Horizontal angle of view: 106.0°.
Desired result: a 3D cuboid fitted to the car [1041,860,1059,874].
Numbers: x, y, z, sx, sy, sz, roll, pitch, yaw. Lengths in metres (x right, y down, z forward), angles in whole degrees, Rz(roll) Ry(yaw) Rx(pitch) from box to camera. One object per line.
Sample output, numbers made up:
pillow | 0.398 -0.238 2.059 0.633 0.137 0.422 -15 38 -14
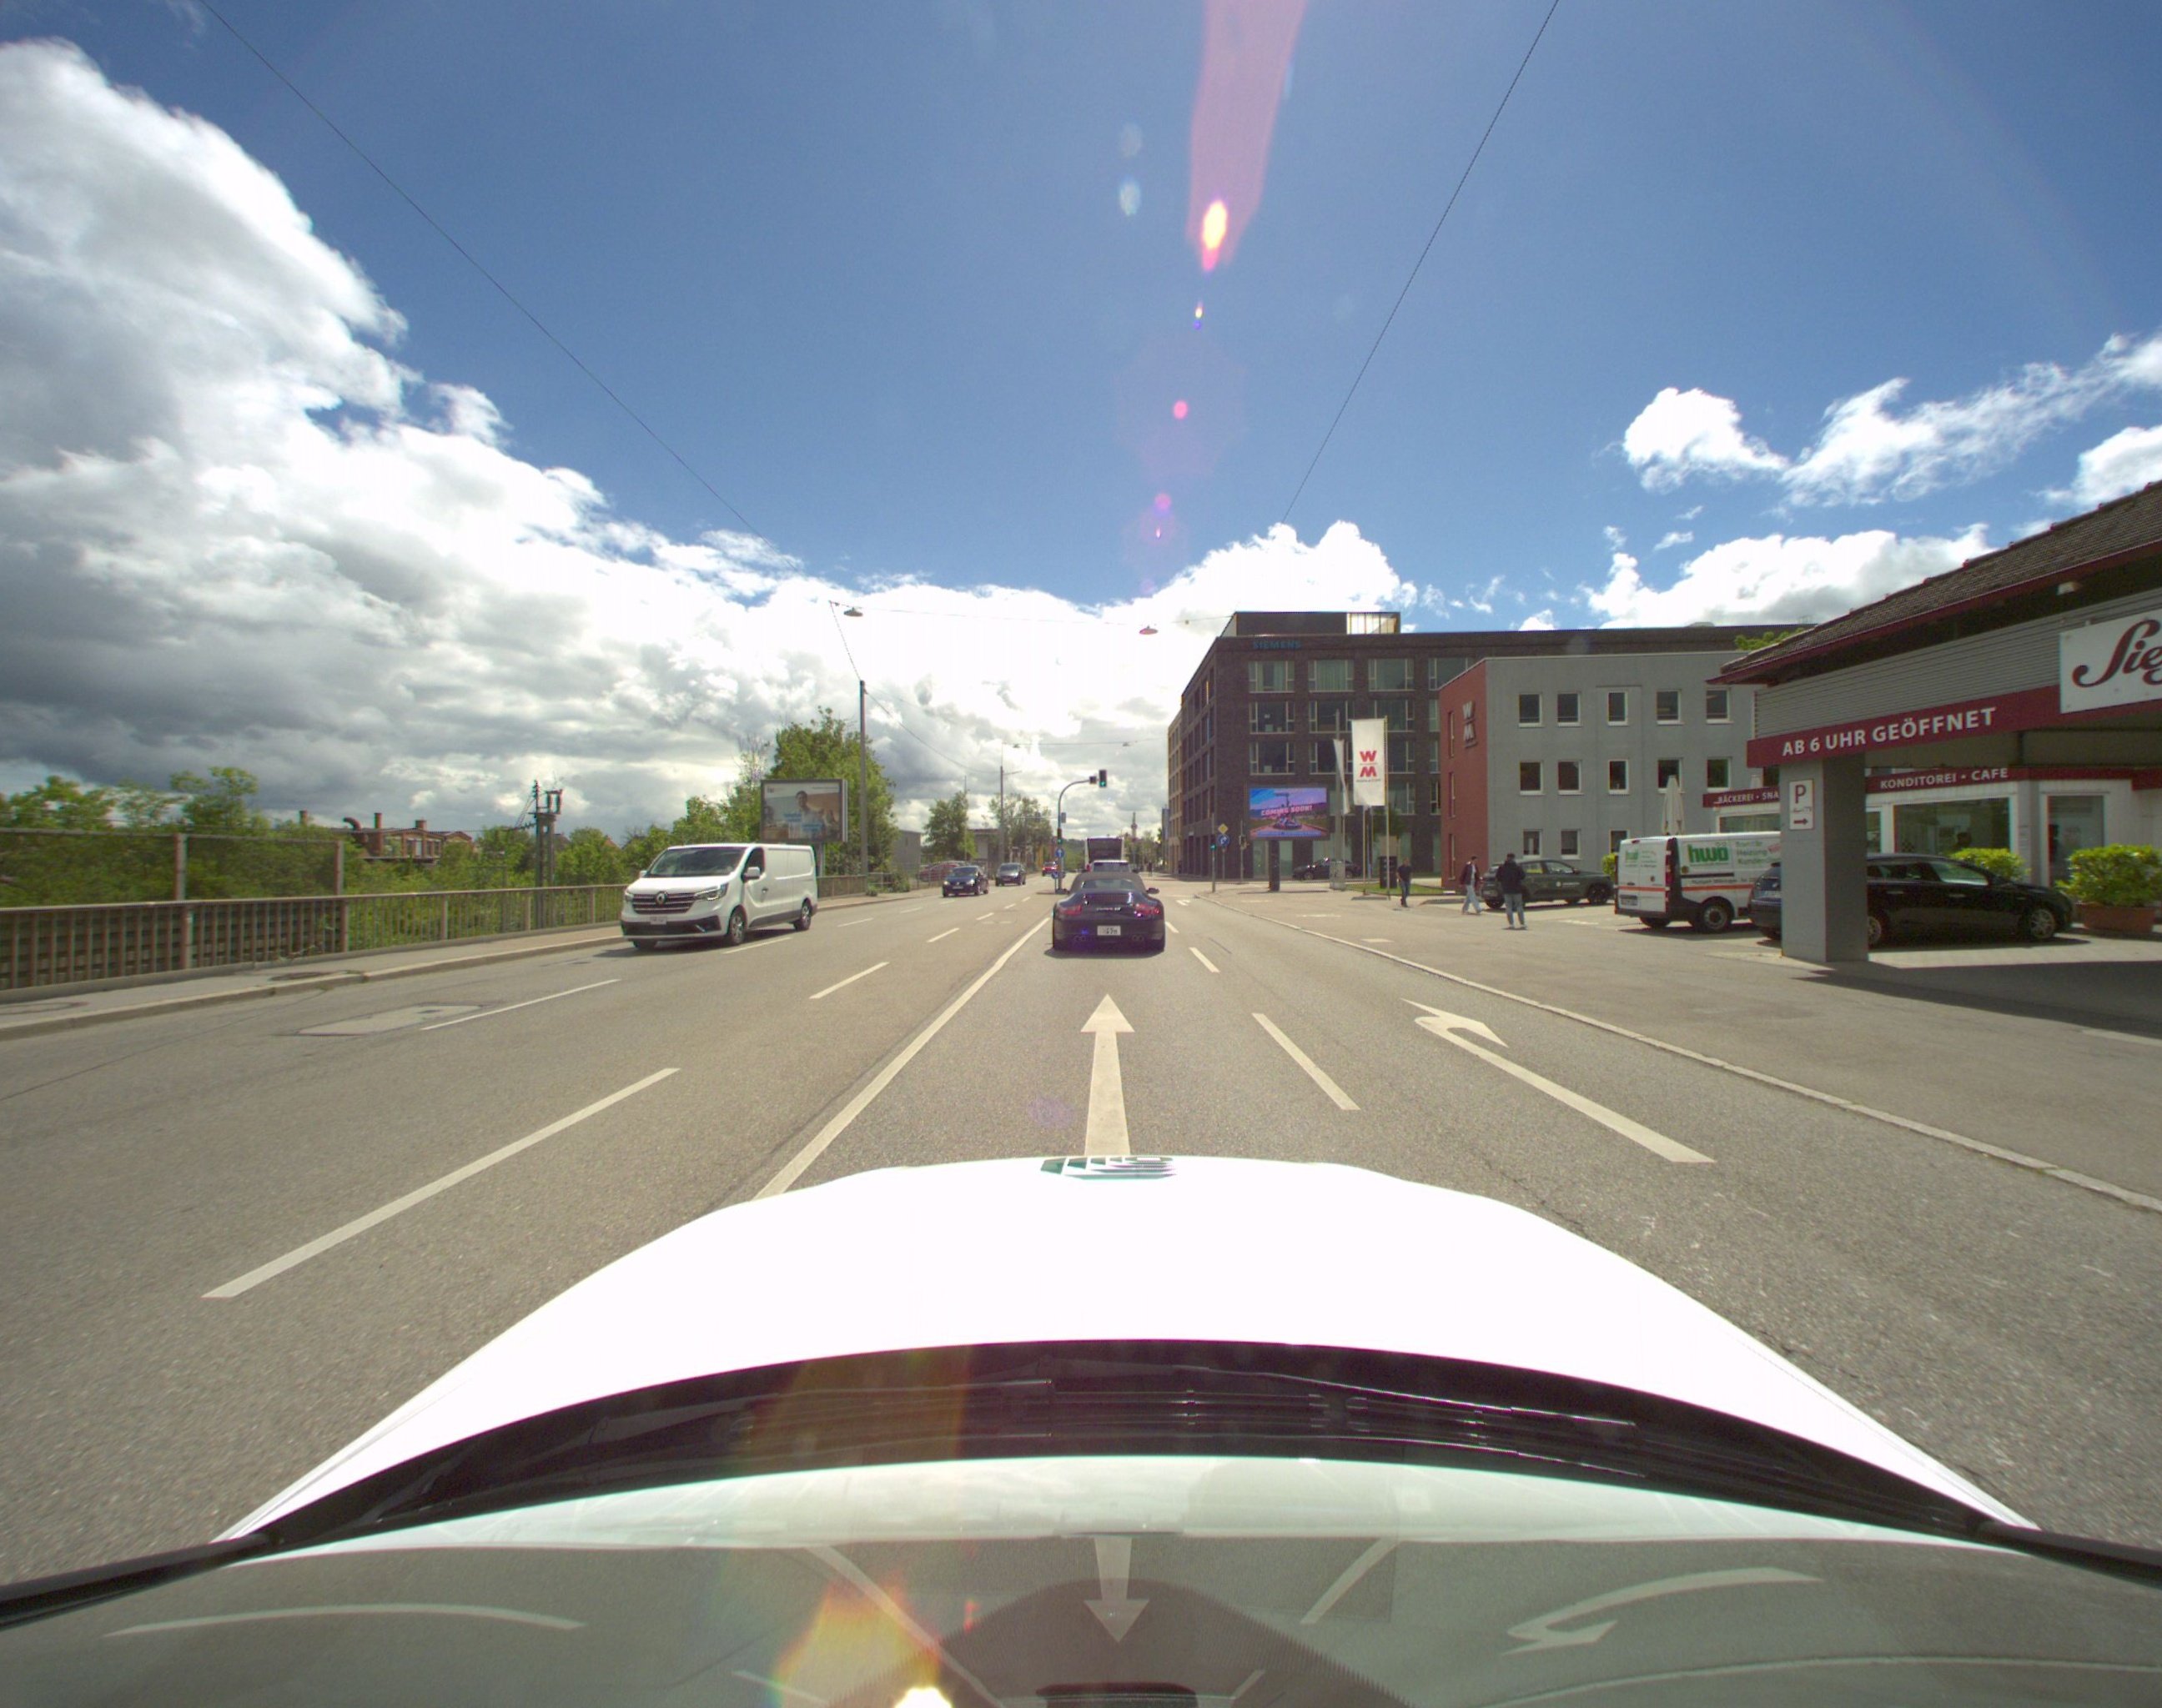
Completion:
car | -3.674 1.463 96.180 1.834 1.596 4.002 0 0 2

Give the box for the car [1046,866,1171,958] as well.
car | 0.490 0.925 14.656 1.923 1.377 4.209 0 0 2

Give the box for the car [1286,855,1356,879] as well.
car | 17.622 0.966 59.923 4.624 1.619 2.000 -1 -1 0

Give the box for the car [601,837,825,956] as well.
car | -7.132 0.743 16.640 1.884 2.014 5.651 0 -1 1

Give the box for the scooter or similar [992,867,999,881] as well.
scooter or similar | -7.563 1.746 72.227 0.421 1.210 1.128 1 -1 6

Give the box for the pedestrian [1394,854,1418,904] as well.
pedestrian | 11.406 0.871 28.595 0.705 1.707 0.634 -1 -1 28

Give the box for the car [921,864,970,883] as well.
car | -10.824 1.553 65.307 3.849 1.419 1.897 -1 -1 -8

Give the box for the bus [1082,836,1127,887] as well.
bus | 1.743 0.506 57.181 2.791 3.198 12.201 0 0 2

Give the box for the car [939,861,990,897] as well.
car | -5.687 1.192 40.177 1.849 1.618 4.001 0 0 2

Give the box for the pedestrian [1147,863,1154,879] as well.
pedestrian | 7.418 1.819 87.033 0.681 1.728 0.962 0 -1 0

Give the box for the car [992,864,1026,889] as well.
car | -5.181 1.601 59.284 1.904 1.702 4.627 -1 -1 2

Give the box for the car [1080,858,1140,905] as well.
car | 0.989 0.950 29.692 1.925 1.583 4.205 0 -1 -1

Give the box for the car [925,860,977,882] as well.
car | -10.834 1.447 68.087 4.094 1.734 1.997 -1 -1 -4

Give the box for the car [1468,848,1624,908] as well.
car | 14.062 0.718 24.804 3.651 1.486 1.763 -5 -2 3

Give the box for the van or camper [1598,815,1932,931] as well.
van or camper | 13.867 0.397 16.801 4.879 1.958 2.213 -3 -2 1

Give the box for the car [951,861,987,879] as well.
car | -13.614 1.952 98.950 4.271 2.014 2.136 -1 -2 -7

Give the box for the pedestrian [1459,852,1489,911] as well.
pedestrian | 11.729 0.808 24.309 0.741 1.707 0.574 -1 -1 28

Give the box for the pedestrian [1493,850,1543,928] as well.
pedestrian | 9.805 0.768 18.293 0.709 1.707 0.739 0 -1 2

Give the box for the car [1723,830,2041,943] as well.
car | 13.226 0.520 13.627 3.441 1.486 1.834 -5 -2 -1
